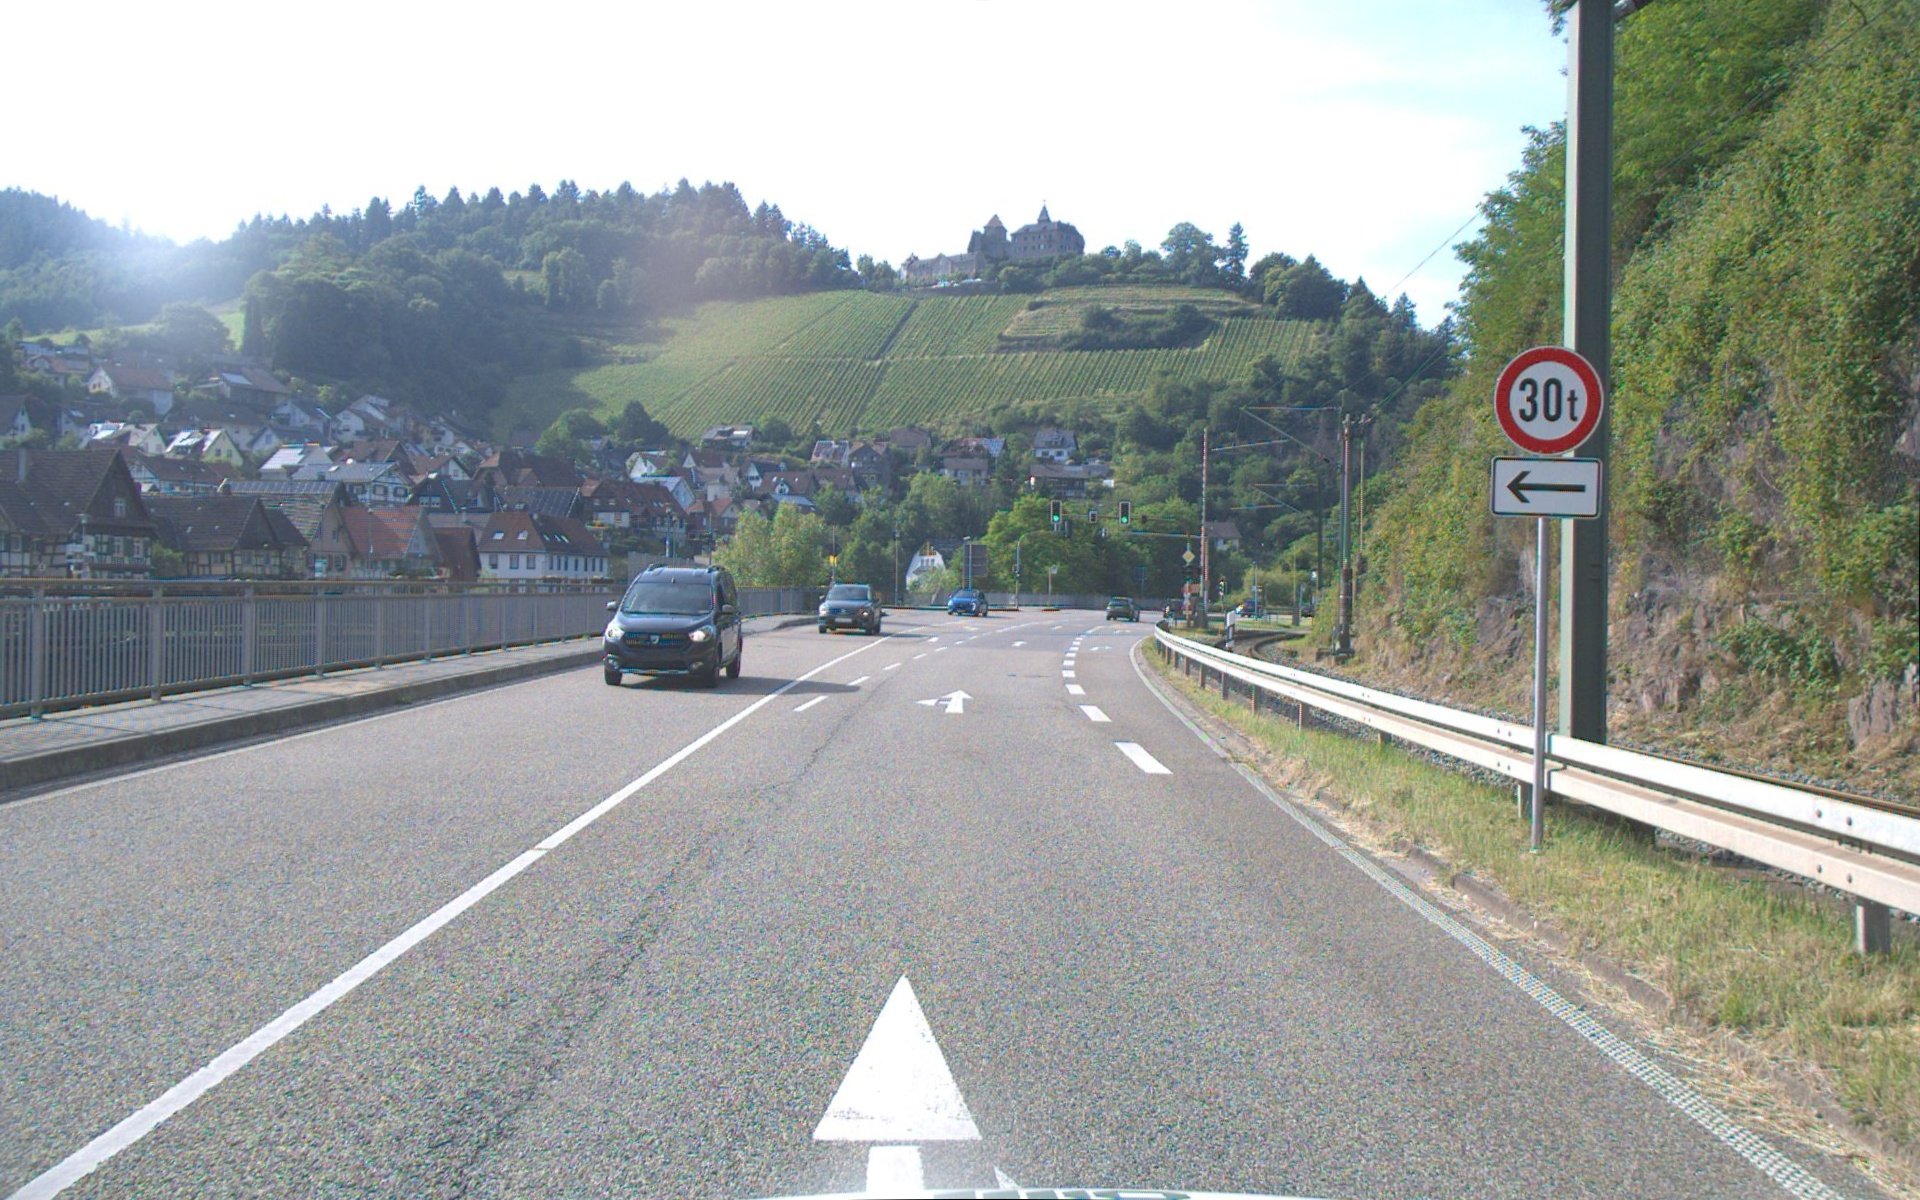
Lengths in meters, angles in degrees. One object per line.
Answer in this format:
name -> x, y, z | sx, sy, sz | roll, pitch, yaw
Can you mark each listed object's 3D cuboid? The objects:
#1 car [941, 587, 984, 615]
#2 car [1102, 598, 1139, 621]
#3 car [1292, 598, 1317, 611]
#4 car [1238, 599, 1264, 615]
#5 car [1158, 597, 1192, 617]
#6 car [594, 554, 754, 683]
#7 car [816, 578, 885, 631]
car -> 0.158, 0.037, 96.581 | 1.744, 1.508, 4.529 | 2, 0, 9
car -> 10.464, 0.638, 107.458 | 1.692, 1.482, 3.412 | 0, -1, 18
car -> 37.331, 0.491, 179.114 | 1.773, 1.433, 3.770 | 0, -1, 25
car -> 27.596, 0.698, 156.885 | 1.770, 1.478, 3.646 | 0, -1, 22
car -> 16.596, 0.577, 127.559 | 1.802, 1.485, 3.714 | 0, -1, 20
car -> -4.454, 0.251, 26.459 | 1.755, 1.860, 4.828 | 1, 0, -1
car -> -3.698, 0.132, 56.574 | 1.779, 1.675, 4.614 | 2, 0, 3
